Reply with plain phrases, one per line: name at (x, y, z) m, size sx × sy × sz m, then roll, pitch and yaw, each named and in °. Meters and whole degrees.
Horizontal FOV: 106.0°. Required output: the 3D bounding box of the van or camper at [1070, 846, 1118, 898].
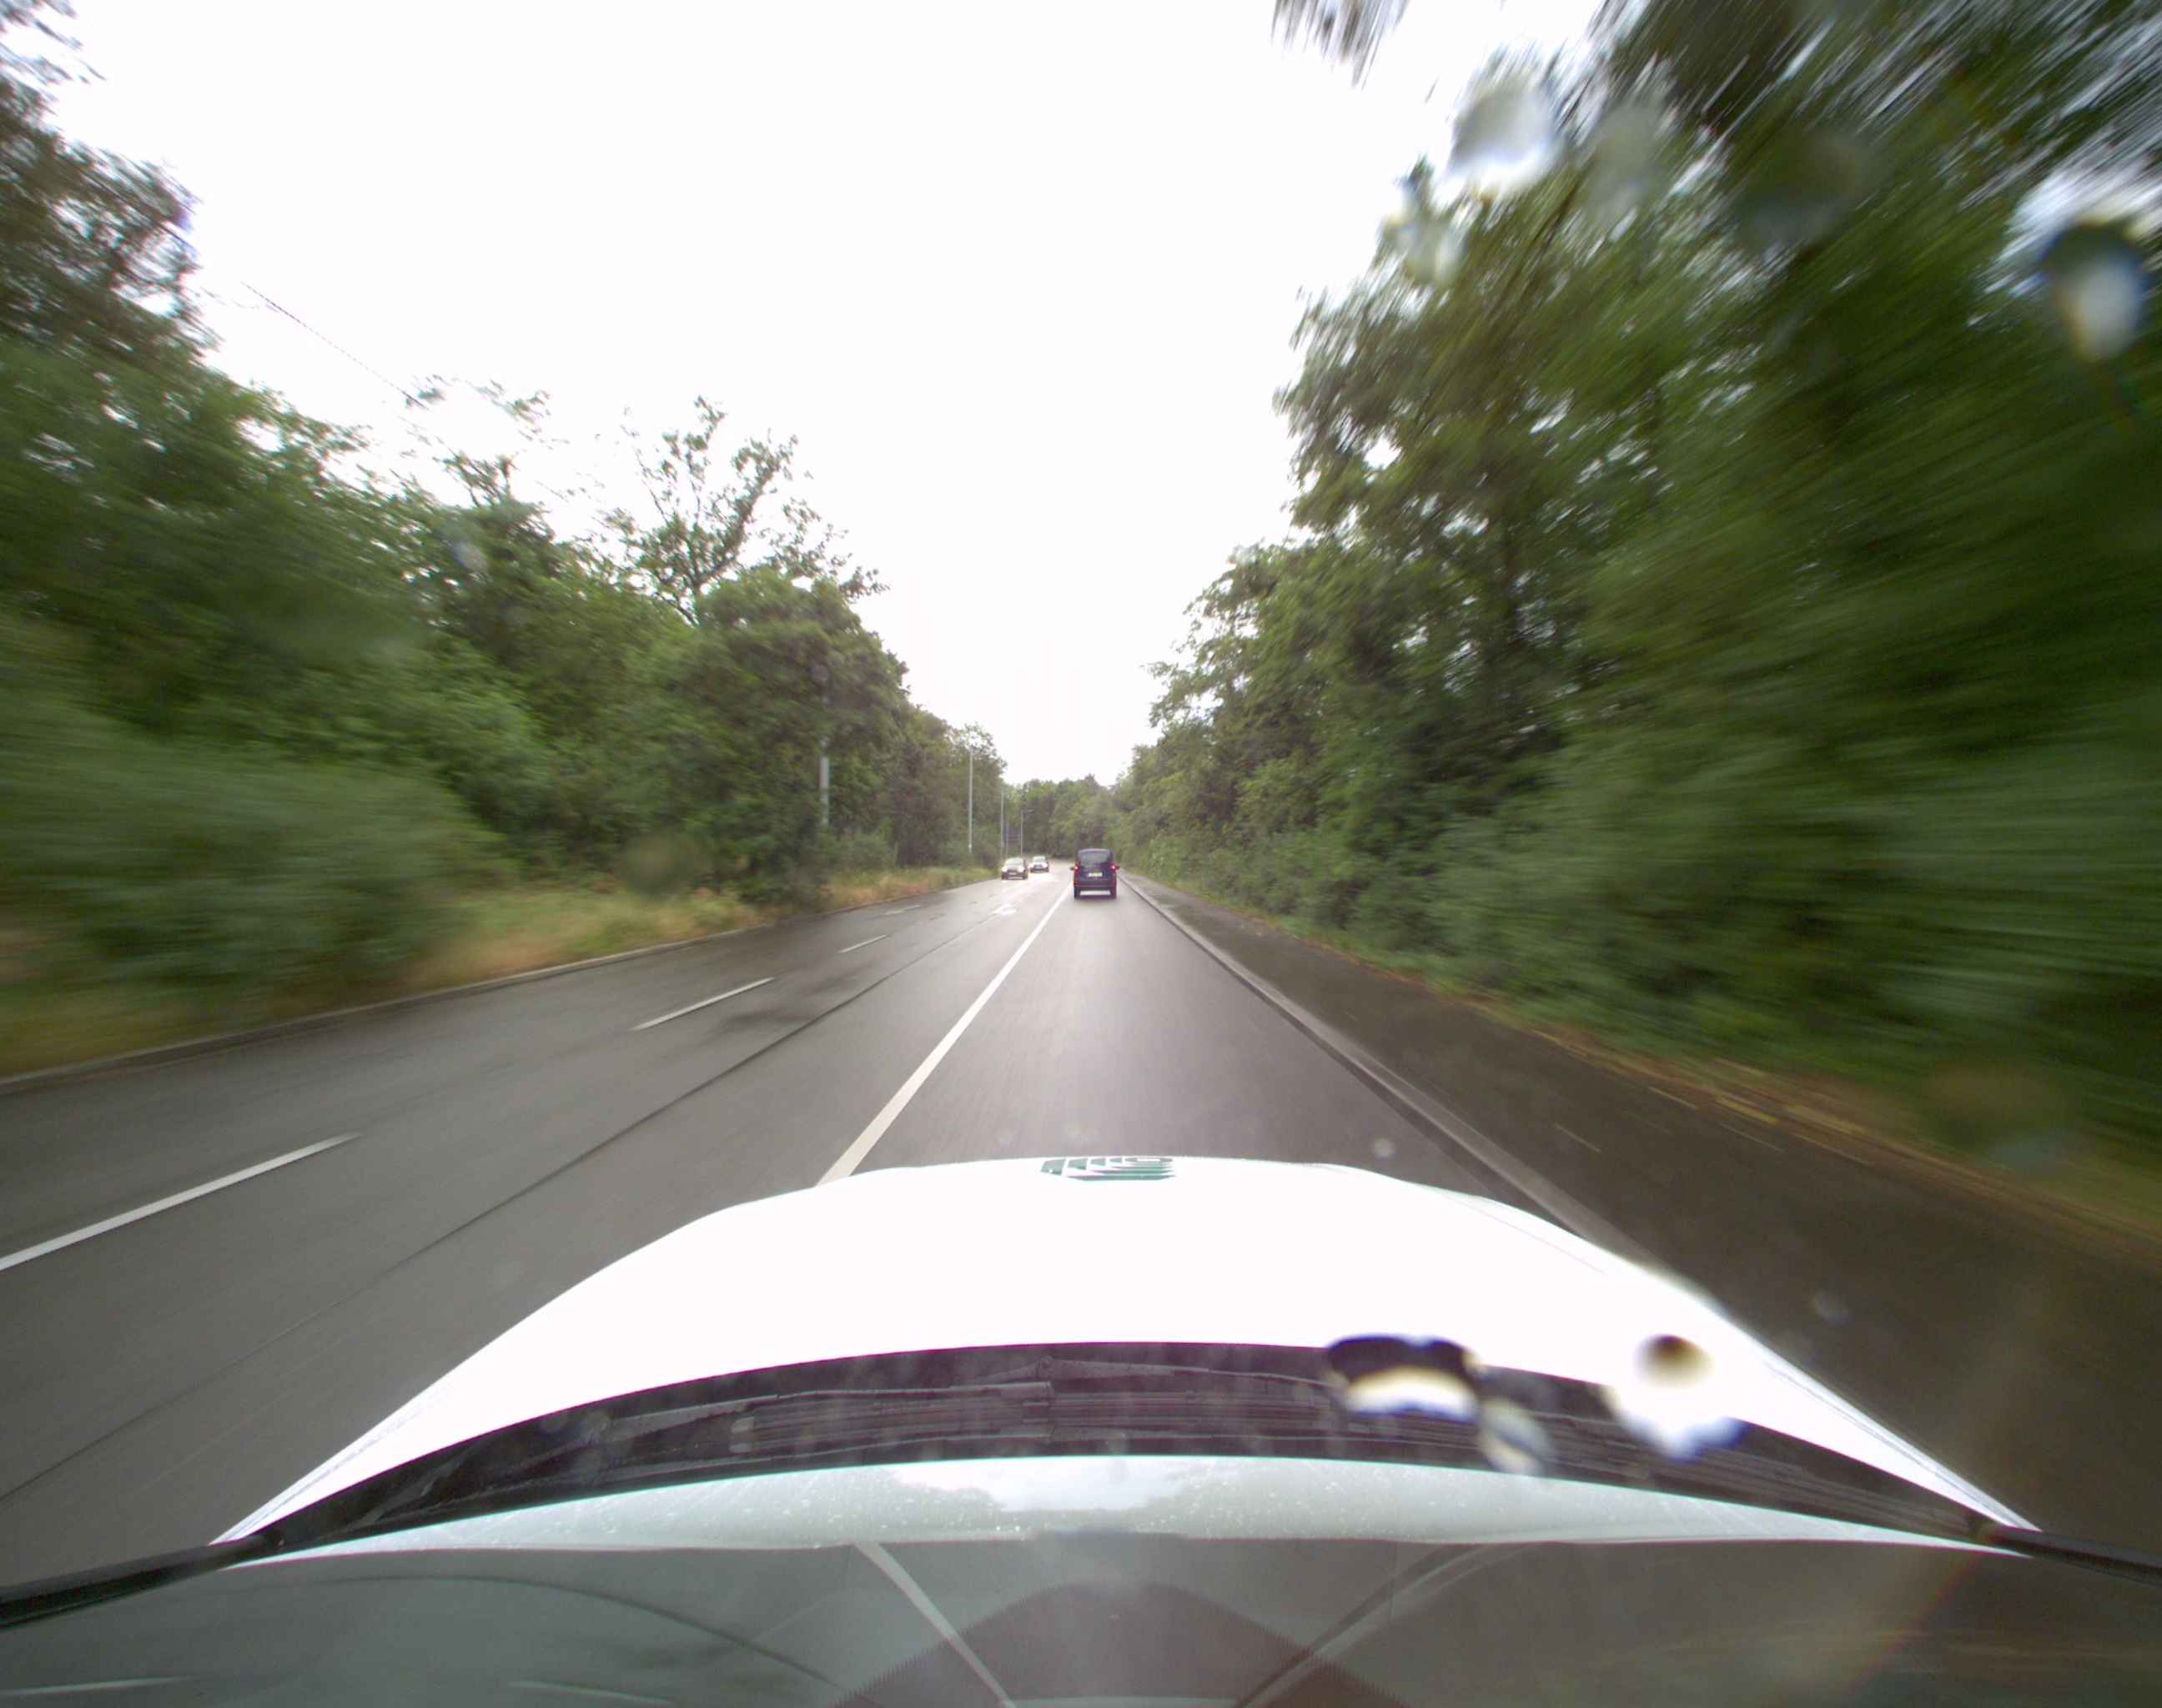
van or camper at (0.574, 0.644, 31.864) m, size 1.706 × 1.825 × 4.003 m, roll -2°, pitch 1°, yaw 2°

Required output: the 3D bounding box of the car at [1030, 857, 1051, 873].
car at (-4.020, 1.083, 81.456) m, size 1.765 × 1.610 × 4.084 m, roll 0°, pitch 0°, yaw 1°

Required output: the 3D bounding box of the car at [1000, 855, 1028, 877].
car at (-4.738, 0.812, 57.975) m, size 1.593 × 1.441 × 3.990 m, roll -1°, pitch 0°, yaw 0°
